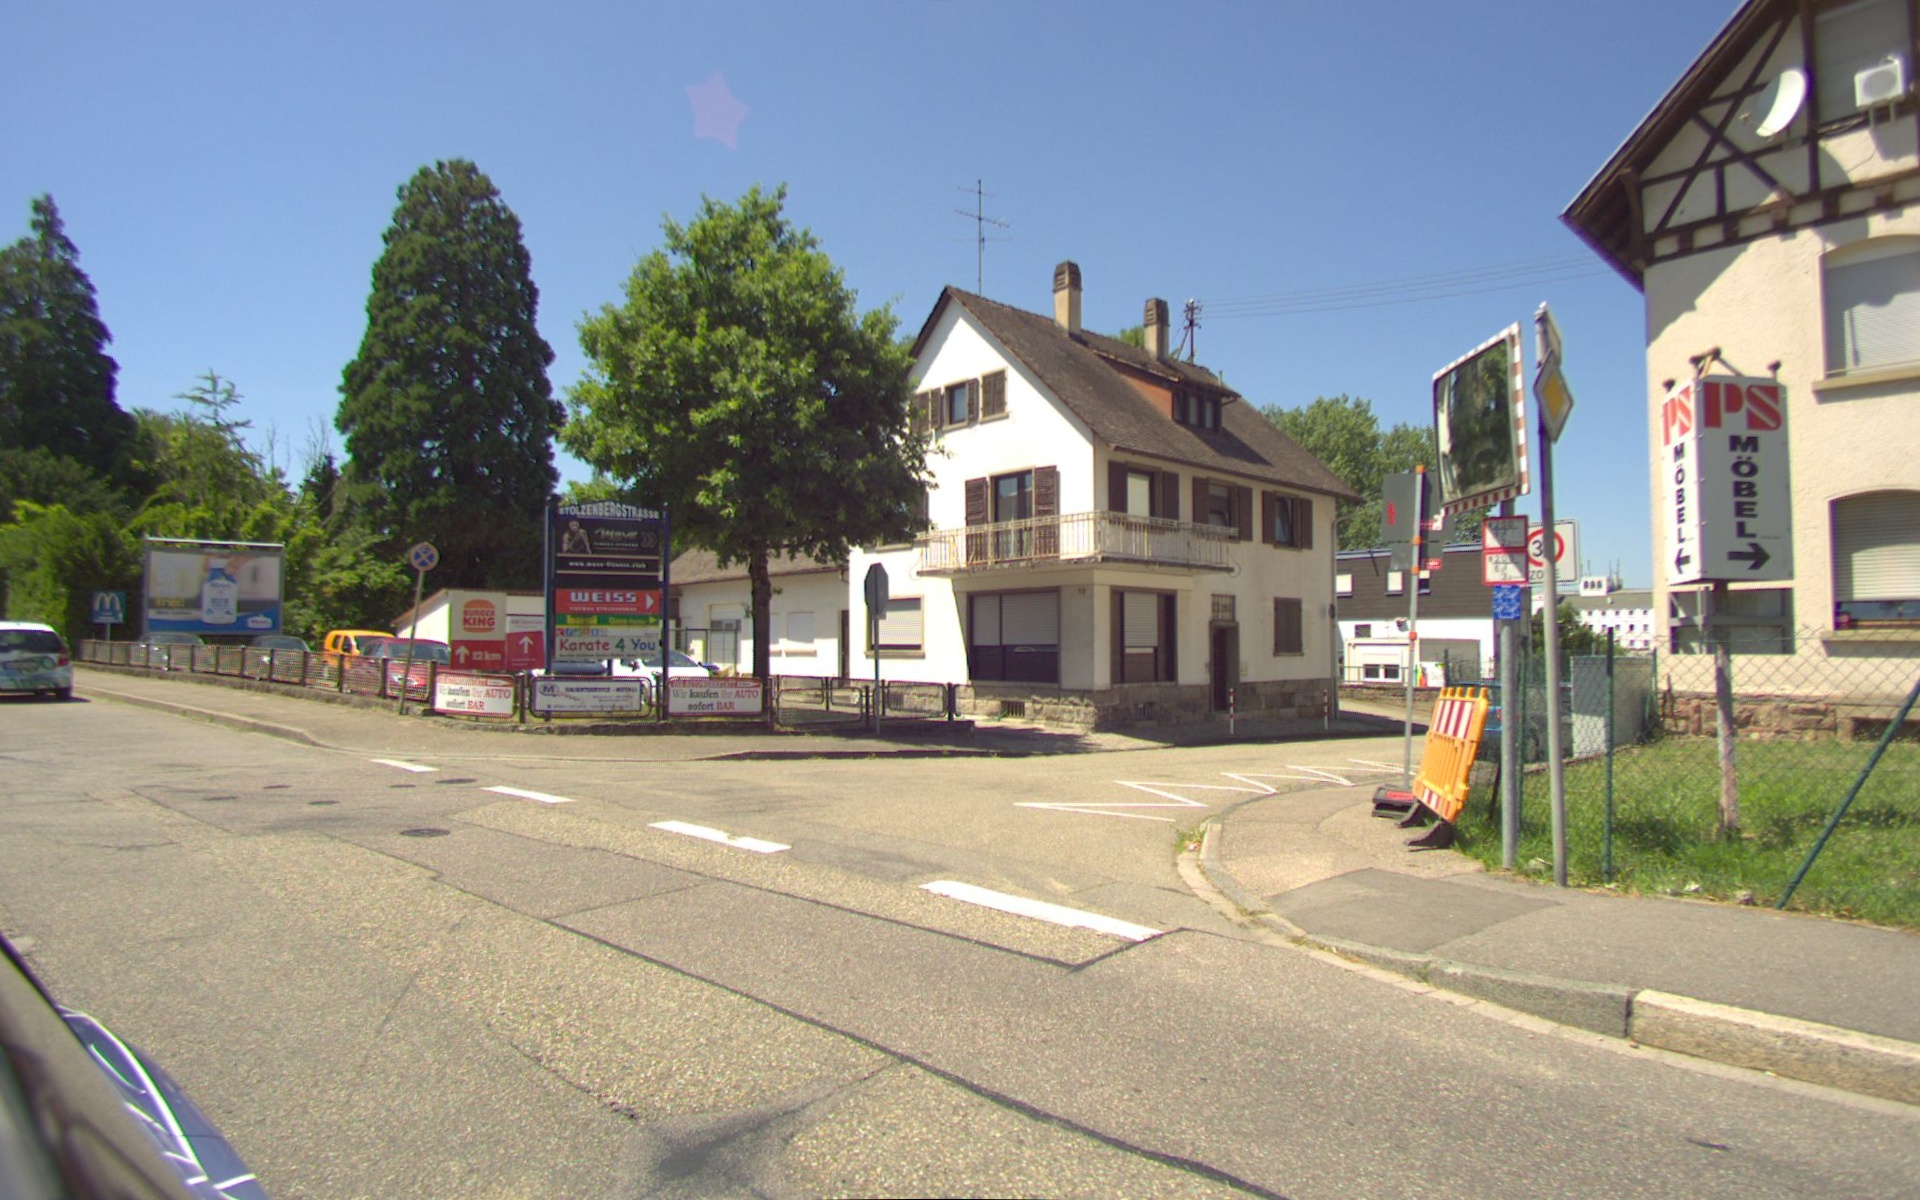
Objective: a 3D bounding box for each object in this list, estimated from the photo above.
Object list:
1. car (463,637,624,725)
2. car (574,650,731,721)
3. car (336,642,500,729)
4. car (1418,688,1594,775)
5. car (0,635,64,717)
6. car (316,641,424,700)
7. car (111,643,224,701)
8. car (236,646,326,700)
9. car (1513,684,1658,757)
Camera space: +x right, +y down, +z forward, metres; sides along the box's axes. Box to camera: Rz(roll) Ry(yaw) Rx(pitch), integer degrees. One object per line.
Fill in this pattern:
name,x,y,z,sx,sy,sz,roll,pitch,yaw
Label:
car,-9.080,1.681,21.849,1.772,1.691,4.631,4,-4,-41
car,-7.097,1.907,23.170,1.773,1.445,4.003,4,-5,-44
car,-10.728,1.616,19.928,1.773,1.530,4.003,4,-5,-44
car,10.576,2.450,19.488,3.939,1.445,1.802,5,-5,-43
car,-19.973,1.514,20.927,3.883,1.574,1.635,-2,-4,41
car,-19.784,2.320,33.869,3.996,1.755,1.776,0,-3,39
car,-23.793,2.120,30.340,3.996,1.530,1.776,0,-3,39
car,-21.844,2.315,32.502,1.772,1.530,4.005,4,-3,-42
car,14.202,2.677,22.899,3.939,1.445,1.802,5,-5,-43
